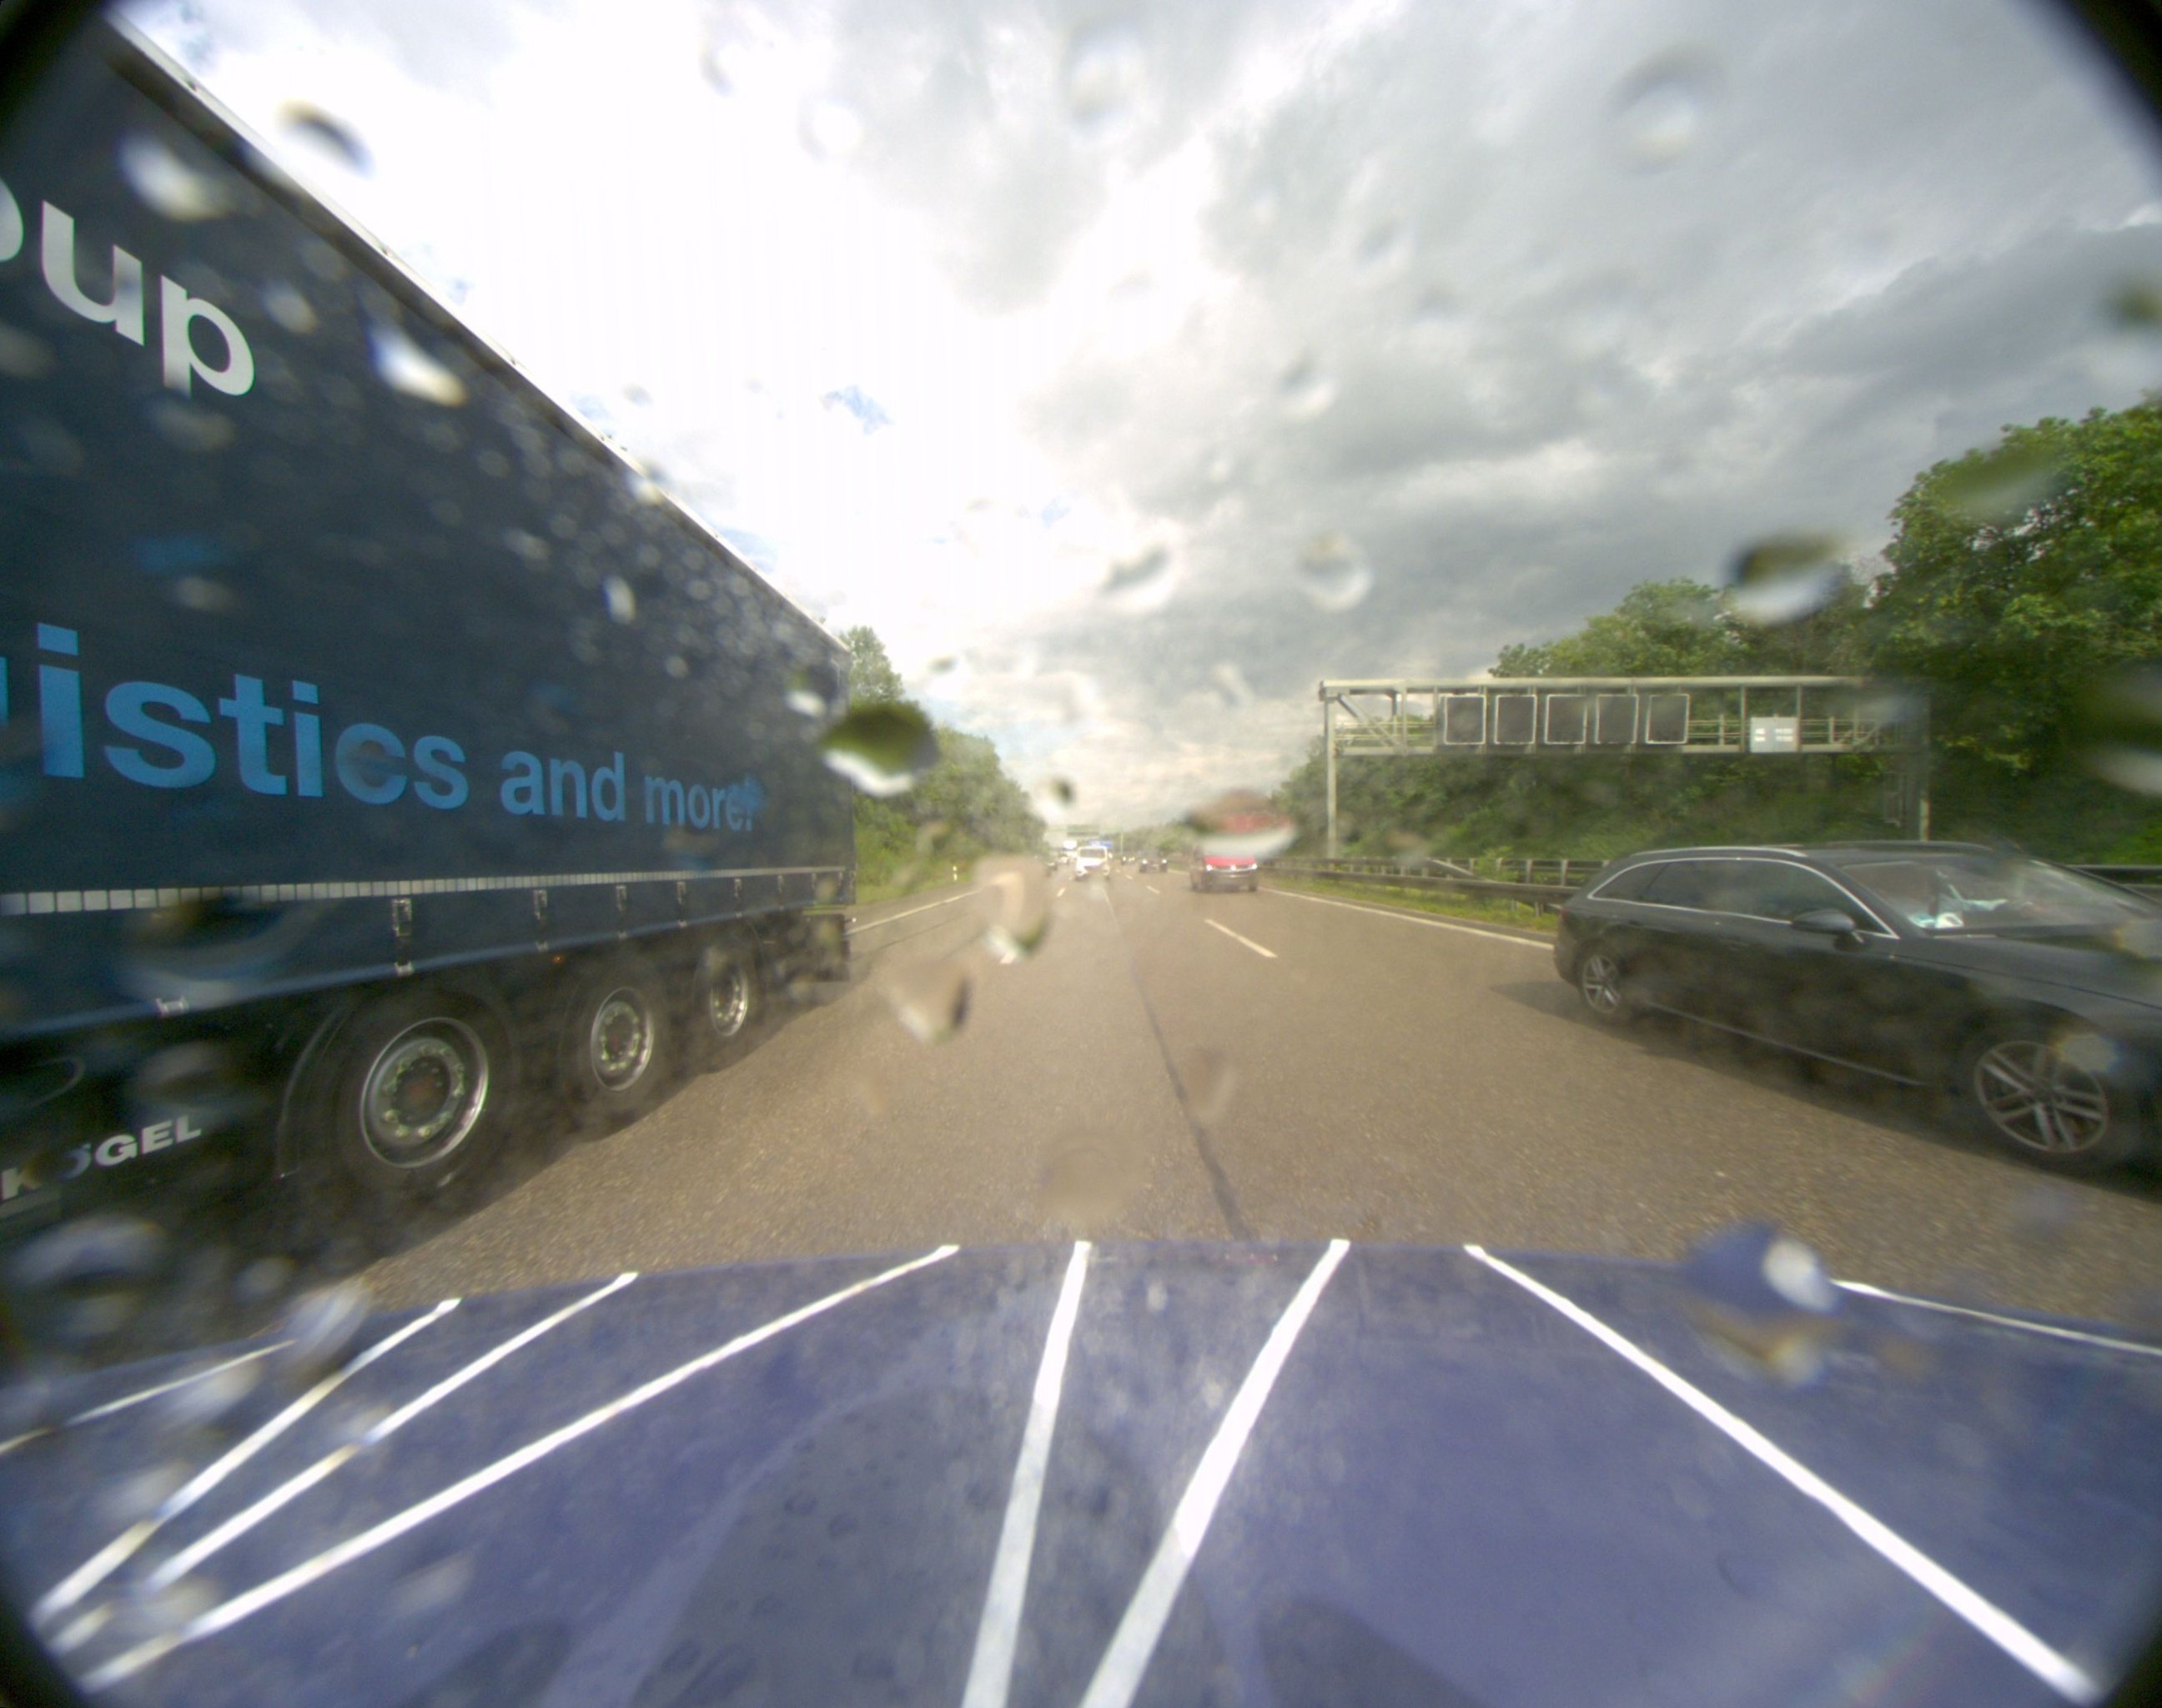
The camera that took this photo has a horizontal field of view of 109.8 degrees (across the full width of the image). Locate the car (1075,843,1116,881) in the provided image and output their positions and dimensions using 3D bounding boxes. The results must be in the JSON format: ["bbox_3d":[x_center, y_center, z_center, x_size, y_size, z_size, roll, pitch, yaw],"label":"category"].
[{"bbox_3d":[0.858,0.411,44.316,2.124,1.988,5.982,-2,1,1],"label":"car"}]

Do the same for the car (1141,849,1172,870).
[{"bbox_3d":[5.823,0.409,58.971,2.009,1.488,4.839,-2,1,1],"label":"car"}]

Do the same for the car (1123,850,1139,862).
[{"bbox_3d":[6.425,0.214,98.240,1.798,1.410,4.839,-2,1,1],"label":"car"}]

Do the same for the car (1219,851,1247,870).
[{"bbox_3d":[14.239,0.598,71.219,1.771,1.653,4.112,-2,1,0],"label":"car"}]

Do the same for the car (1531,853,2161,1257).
[{"bbox_3d":[4.982,0.757,4.539,1.798,1.410,4.839,-2,1,1],"label":"car"}]

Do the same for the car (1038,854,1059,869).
[{"bbox_3d":[-3.316,0.736,79.311,1.798,1.410,4.839,-2,1,1],"label":"car"}]

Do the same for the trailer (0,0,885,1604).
[{"bbox_3d":[-3.856,-0.228,2.118,2.641,3.972,14.063,-2,1,1],"label":"trailer"}]

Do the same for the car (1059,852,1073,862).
[{"bbox_3d":[-2.150,0.397,112.851,1.798,1.410,4.839,-2,1,1],"label":"car"}]

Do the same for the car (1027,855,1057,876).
[{"bbox_3d":[-2.822,0.809,56.078,1.798,1.410,4.839,-2,1,1],"label":"car"}]

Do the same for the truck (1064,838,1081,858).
[{"bbox_3d":[-1.679,-1.090,148.722,3.064,3.827,8.799,-1,0,0],"label":"truck"}]

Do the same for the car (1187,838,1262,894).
[{"bbox_3d":[5.245,0.380,28.429,1.926,1.855,4.839,-2,1,1],"label":"car"}]
